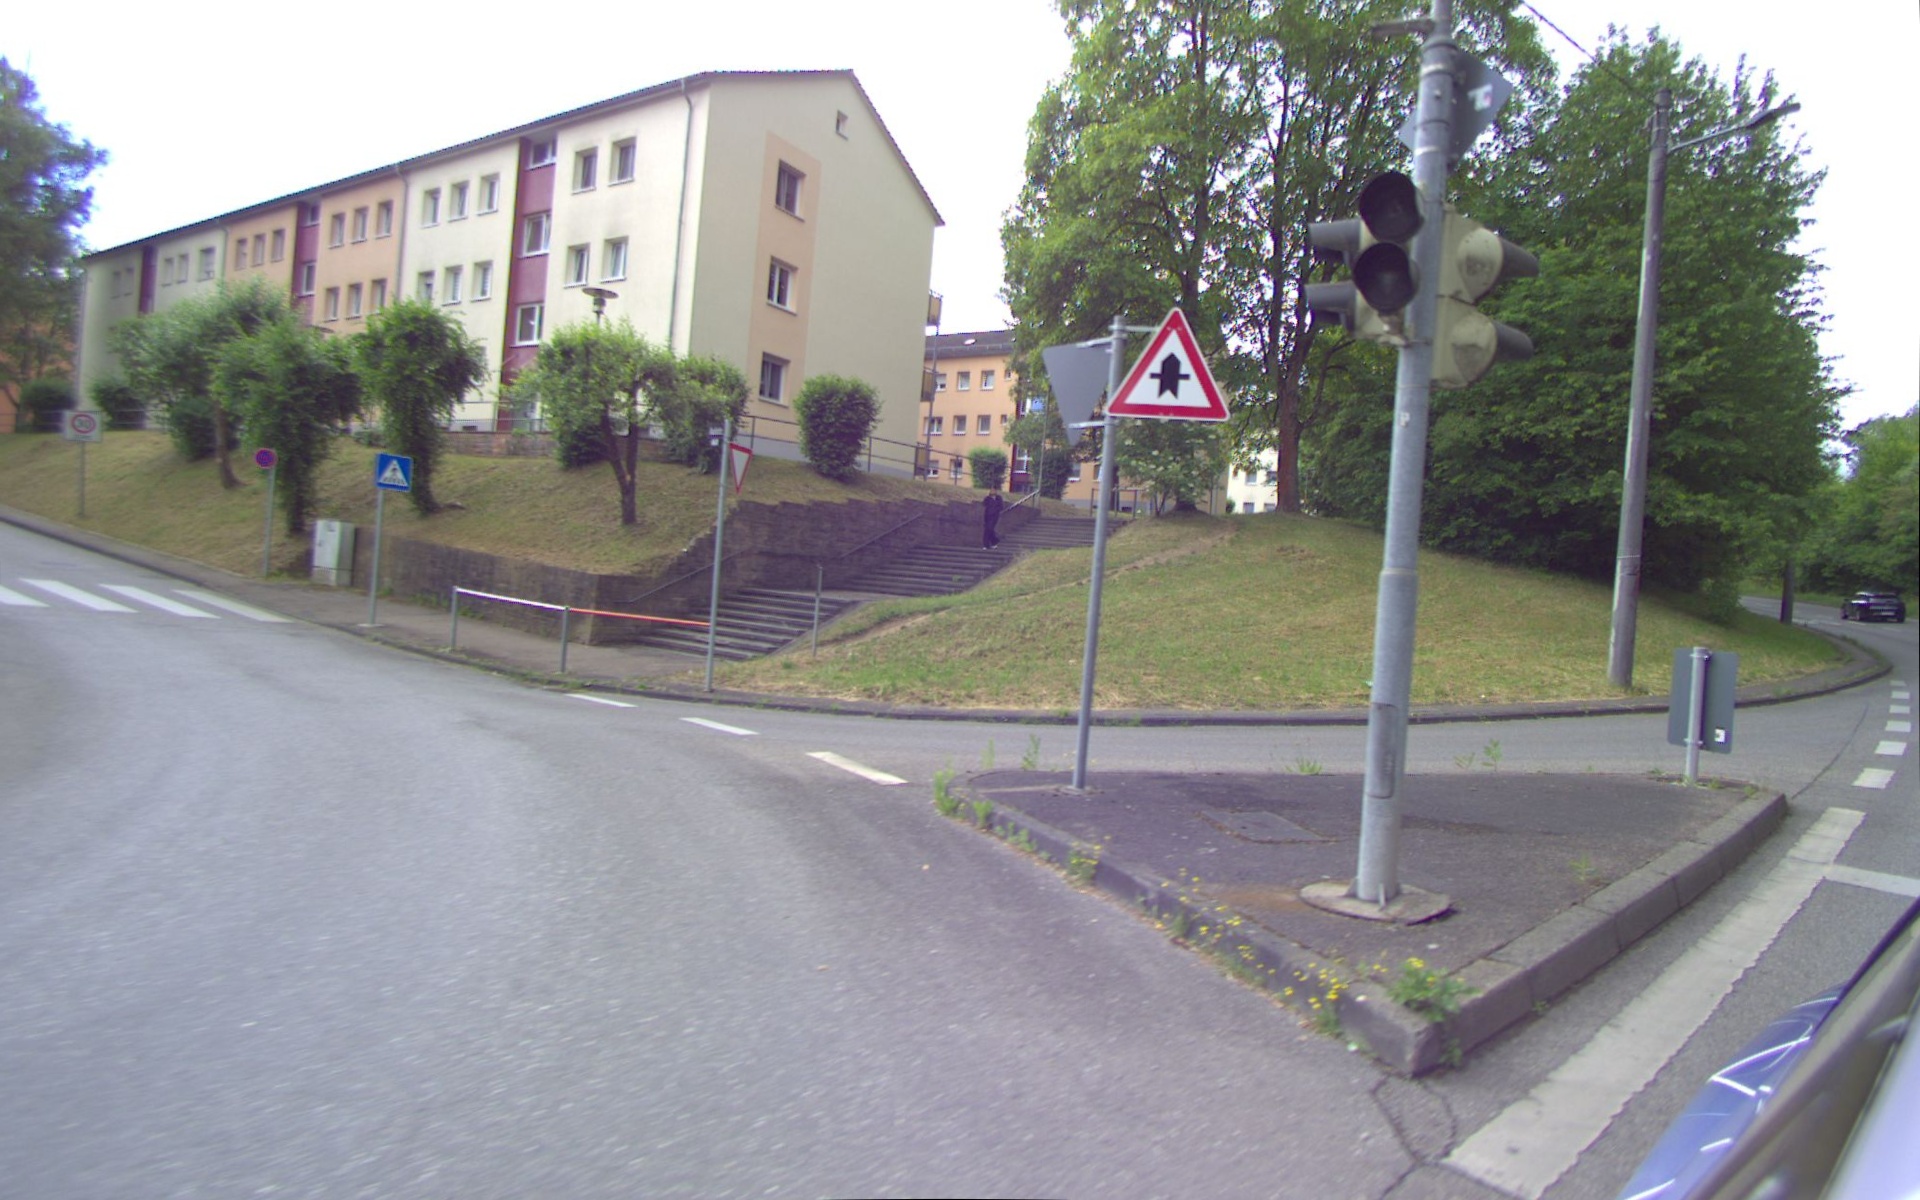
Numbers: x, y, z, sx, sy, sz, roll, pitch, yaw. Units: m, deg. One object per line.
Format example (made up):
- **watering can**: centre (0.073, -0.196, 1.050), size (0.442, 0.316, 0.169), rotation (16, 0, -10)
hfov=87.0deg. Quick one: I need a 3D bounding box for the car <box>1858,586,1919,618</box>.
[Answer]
- **car**: centre (45.349, 0.070, 49.359), size (1.797, 1.452, 4.601), rotation (0, 1, 35)
